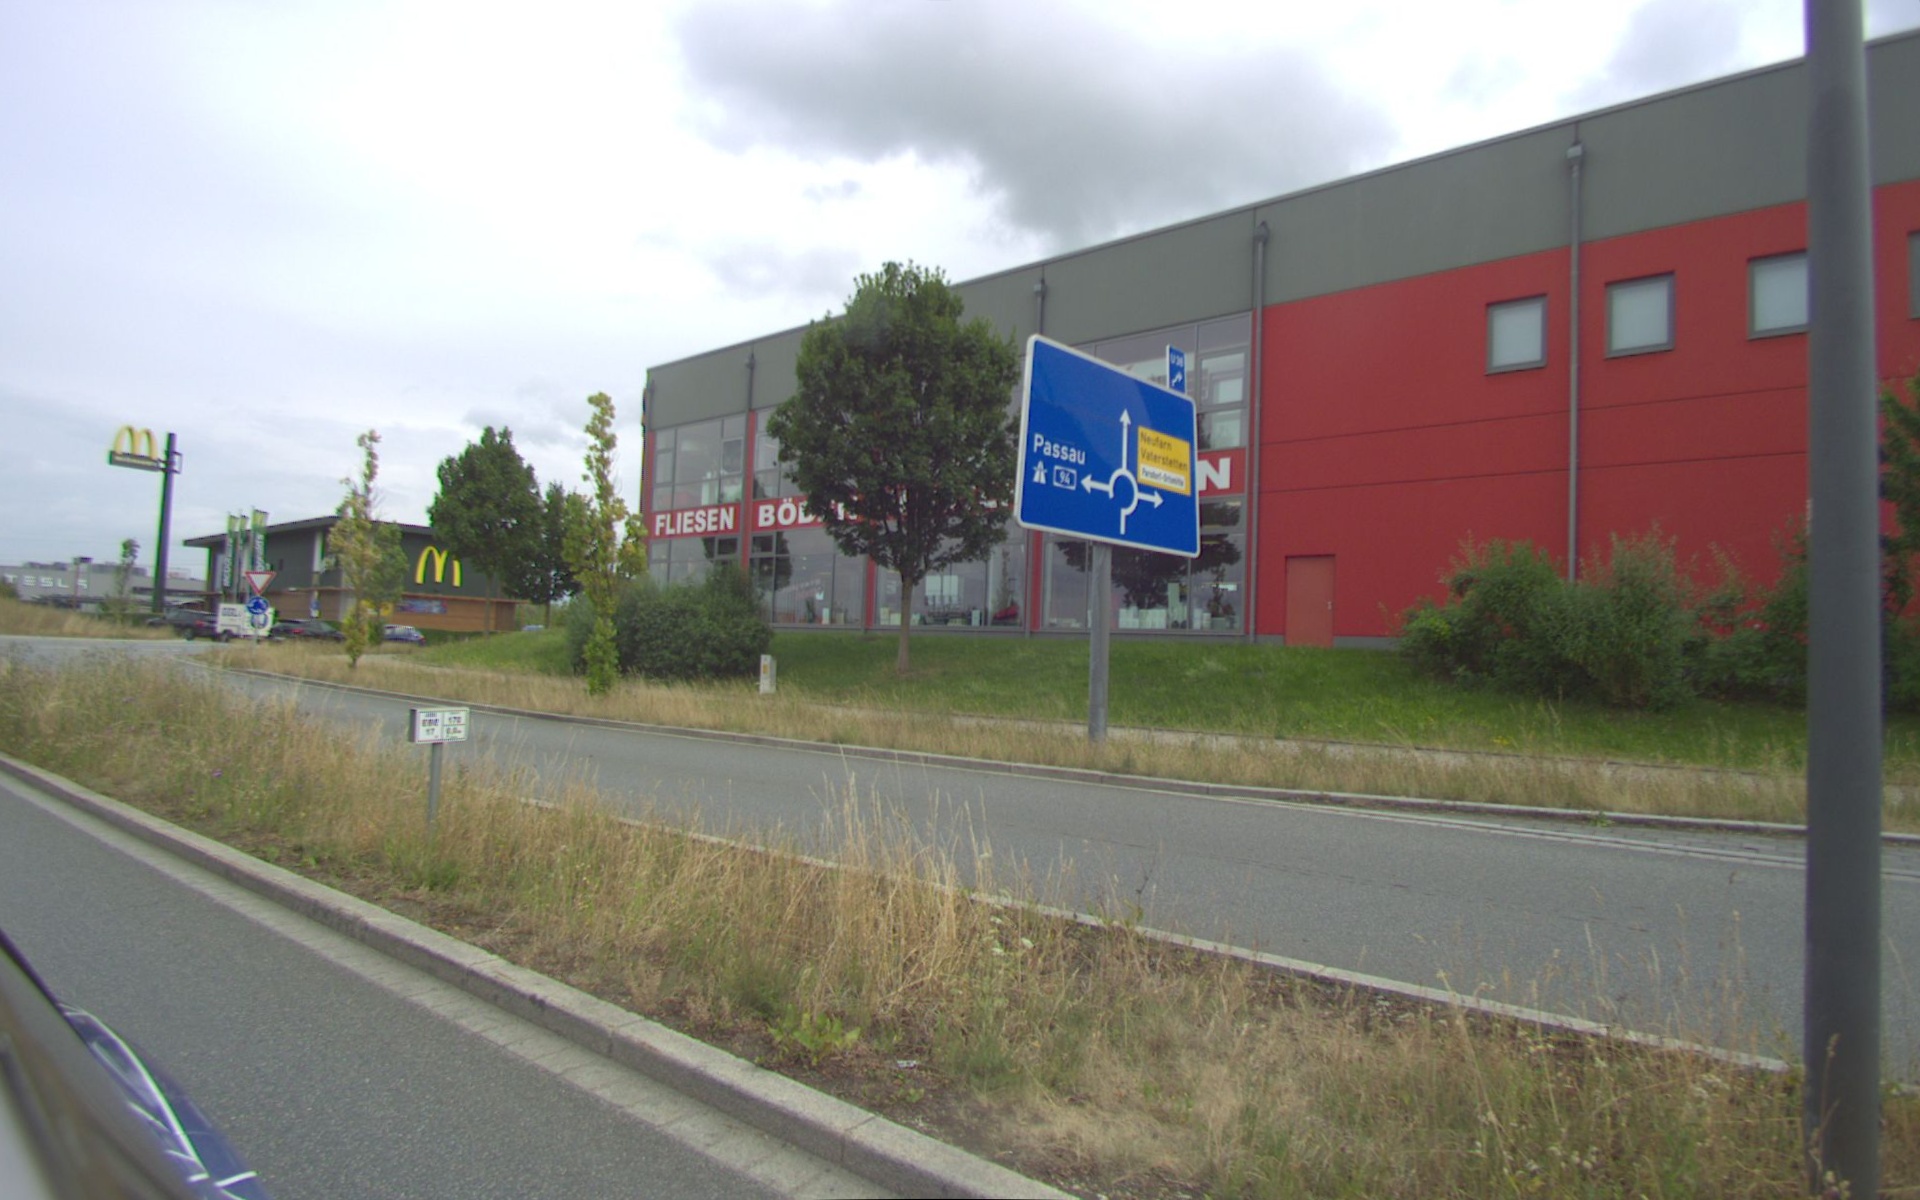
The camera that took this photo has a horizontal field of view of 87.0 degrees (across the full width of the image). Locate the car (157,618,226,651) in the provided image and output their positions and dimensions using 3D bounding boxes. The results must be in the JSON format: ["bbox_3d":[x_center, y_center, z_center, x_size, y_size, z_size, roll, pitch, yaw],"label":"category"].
[{"bbox_3d":[-42.608,1.890,56.092,4.609,1.683,1.794,-1,-5,38],"label":"car"}]

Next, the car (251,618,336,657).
[{"bbox_3d":[-31.473,1.808,47.926,1.621,1.469,3.772,8,-5,-5],"label":"car"}]

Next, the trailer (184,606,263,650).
[{"bbox_3d":[-39.333,1.487,54.050,4.130,2.107,1.793,1,-4,31],"label":"trailer"}]

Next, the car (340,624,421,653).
[{"bbox_3d":[-35.791,2.405,62.633,1.883,1.671,3.991,2,-2,21],"label":"car"}]
